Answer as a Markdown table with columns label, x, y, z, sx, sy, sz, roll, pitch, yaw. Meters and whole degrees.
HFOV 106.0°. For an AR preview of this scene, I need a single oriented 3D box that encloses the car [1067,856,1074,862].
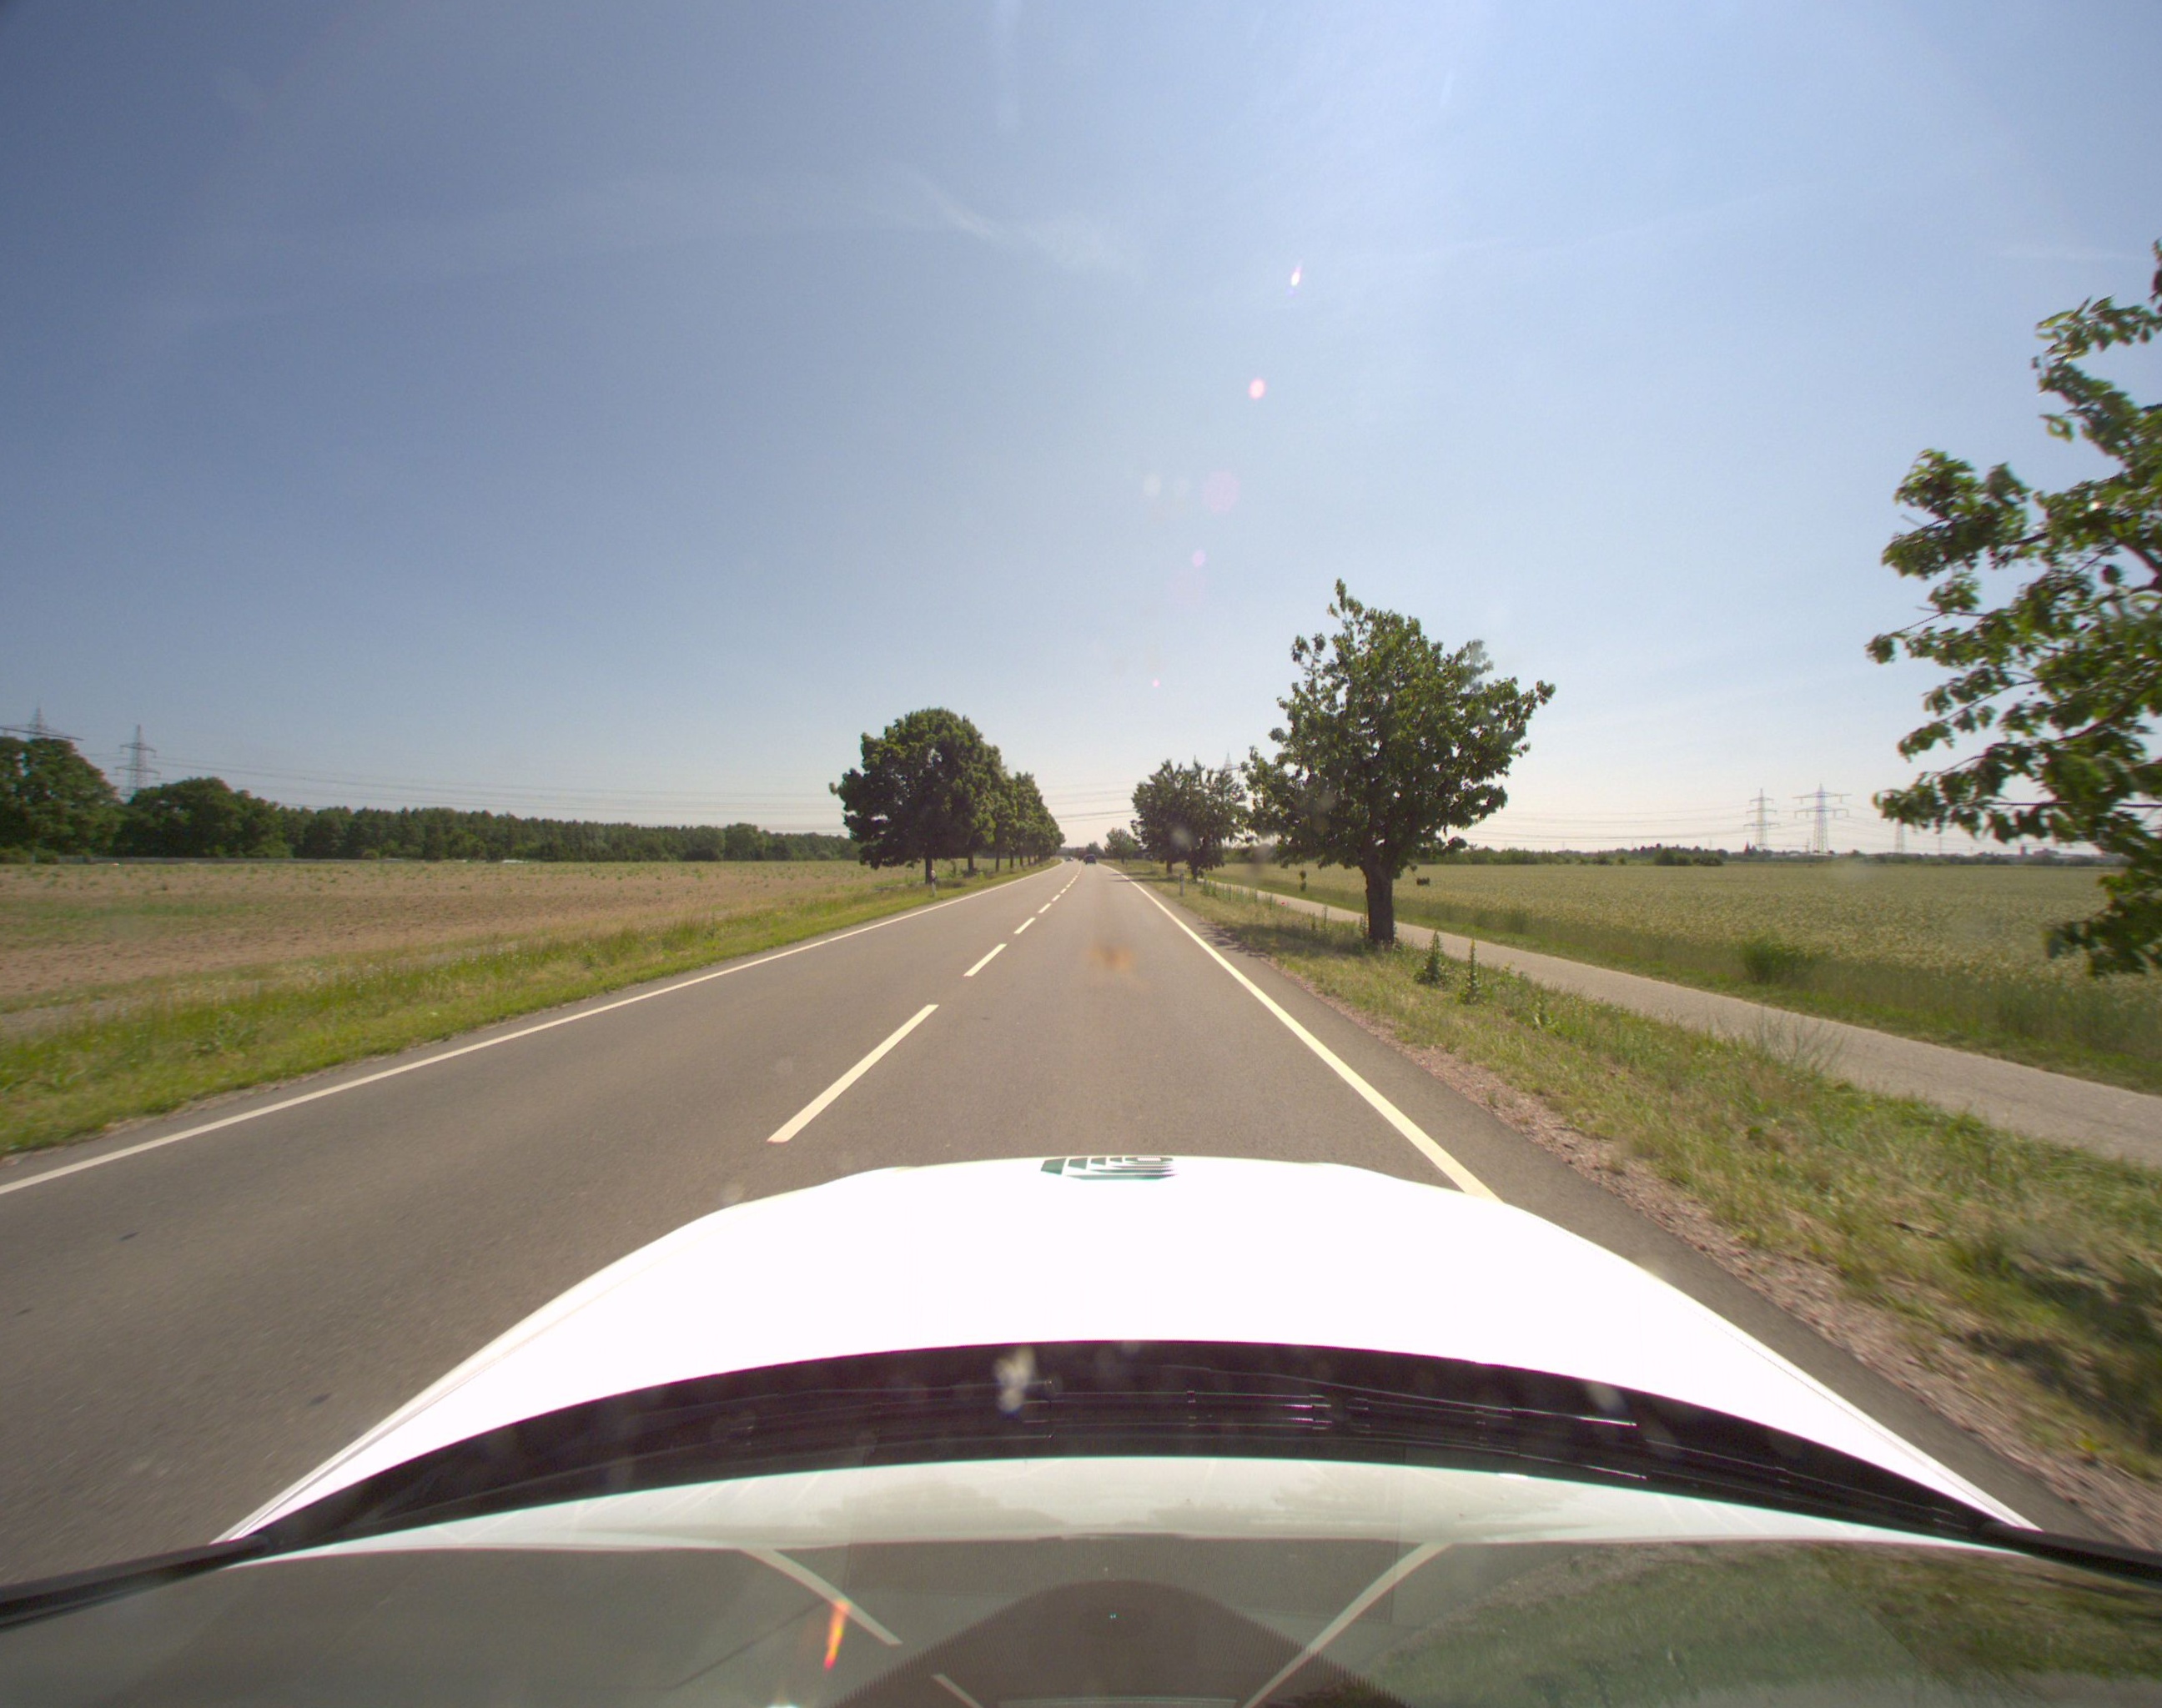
| label | x | y | z | sx | sy | sz | roll | pitch | yaw |
| --- | --- | --- | --- | --- | --- | --- | --- | --- | --- |
| car | -2.821 | 1.363 | 225.343 | 1.816 | 1.420 | 4.588 | -1 | -1 | 0 |

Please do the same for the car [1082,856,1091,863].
| label | x | y | z | sx | sy | sz | roll | pitch | yaw |
| --- | --- | --- | --- | --- | --- | --- | --- | --- | --- |
| car | 1.184 | 1.159 | 183.058 | 1.847 | 1.523 | 3.995 | -1 | -1 | -3 |

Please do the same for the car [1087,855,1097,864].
| label | x | y | z | sx | sy | sz | roll | pitch | yaw |
| --- | --- | --- | --- | --- | --- | --- | --- | --- | --- |
| car | 1.946 | 0.975 | 143.656 | 1.709 | 1.694 | 3.989 | -1 | -1 | 1 |

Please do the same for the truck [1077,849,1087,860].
| label | x | y | z | sx | sy | sz | roll | pitch | yaw |
| --- | --- | --- | --- | --- | --- | --- | --- | --- | --- |
| truck | 0.292 | 0.123 | 244.009 | 2.366 | 3.140 | 8.734 | 0 | 0 | -4 |
